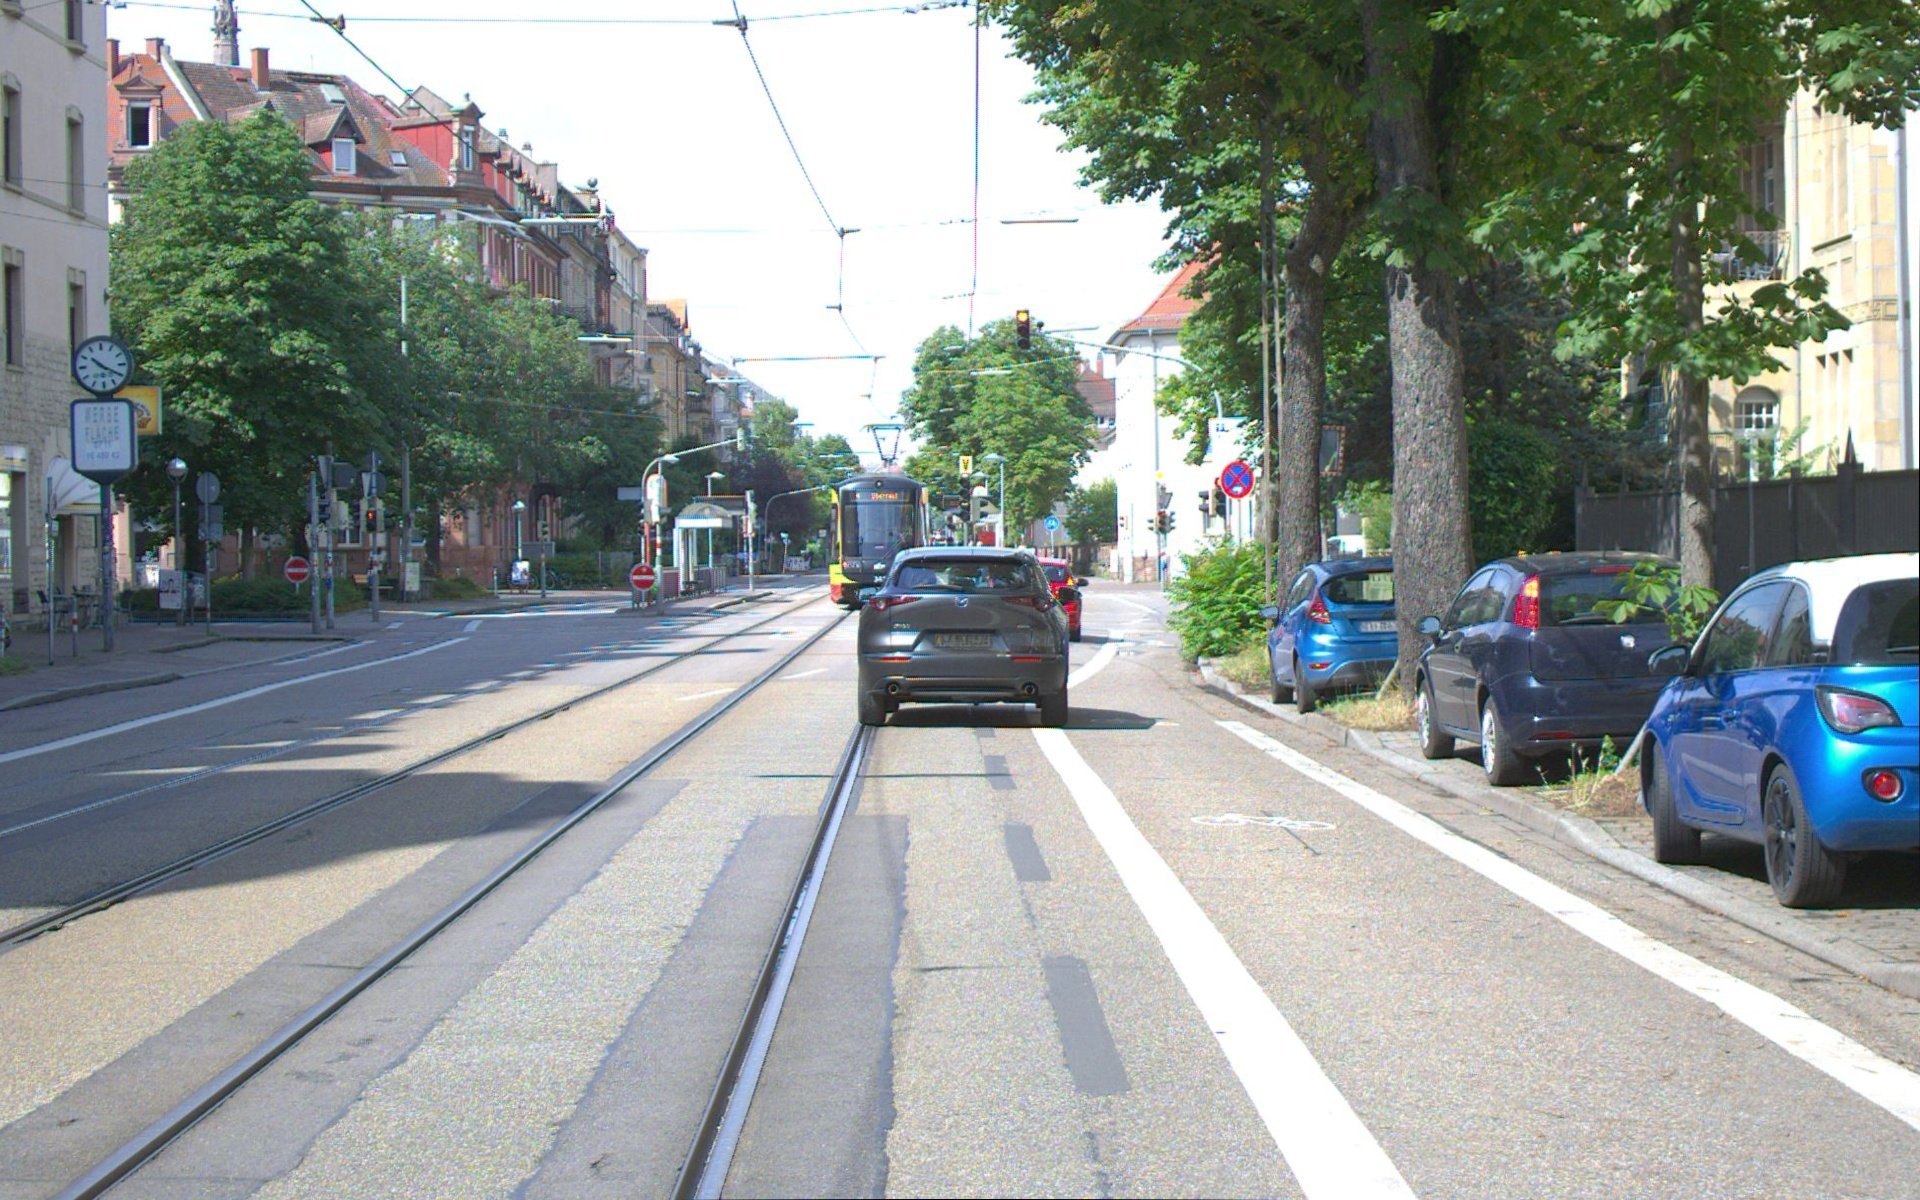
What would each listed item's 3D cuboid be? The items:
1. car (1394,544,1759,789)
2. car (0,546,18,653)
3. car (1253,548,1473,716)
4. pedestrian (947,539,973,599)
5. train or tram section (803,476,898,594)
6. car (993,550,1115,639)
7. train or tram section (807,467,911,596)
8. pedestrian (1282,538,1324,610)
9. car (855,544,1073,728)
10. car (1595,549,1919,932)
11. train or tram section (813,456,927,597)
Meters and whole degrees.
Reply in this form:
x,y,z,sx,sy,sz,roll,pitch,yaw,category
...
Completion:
x,y,z,sx,sy,sz,roll,pitch,yaw,category
4.141,0.394,23.634,1.639,1.491,3.758,-2,1,-2,car
-15.113,-0.038,48.312,3.236,1.508,1.678,1,0,3,car
3.932,0.270,34.039,1.624,1.491,3.848,-3,1,-1,car
-0.011,-0.845,93.135,0.667,1.599,0.700,0,1,-2,pedestrian
-3.502,-2.009,108.376,2.651,3.516,8.498,-1,0,-4,train or tram section
1.656,-0.125,61.869,1.784,1.487,4.884,-1,1,-3,car
-2.989,-1.941,99.896,2.651,3.516,8.498,-1,0,-4,train or tram section
7.649,-0.578,76.672,0.875,1.599,0.631,0,1,3,pedestrian
-0.028,0.280,30.592,1.789,1.507,4.351,0,1,-2,car
4.153,0.542,15.762,1.639,1.491,3.627,-2,1,-2,car
-2.471,-1.889,91.406,2.651,3.516,8.498,-1,0,-4,train or tram section
